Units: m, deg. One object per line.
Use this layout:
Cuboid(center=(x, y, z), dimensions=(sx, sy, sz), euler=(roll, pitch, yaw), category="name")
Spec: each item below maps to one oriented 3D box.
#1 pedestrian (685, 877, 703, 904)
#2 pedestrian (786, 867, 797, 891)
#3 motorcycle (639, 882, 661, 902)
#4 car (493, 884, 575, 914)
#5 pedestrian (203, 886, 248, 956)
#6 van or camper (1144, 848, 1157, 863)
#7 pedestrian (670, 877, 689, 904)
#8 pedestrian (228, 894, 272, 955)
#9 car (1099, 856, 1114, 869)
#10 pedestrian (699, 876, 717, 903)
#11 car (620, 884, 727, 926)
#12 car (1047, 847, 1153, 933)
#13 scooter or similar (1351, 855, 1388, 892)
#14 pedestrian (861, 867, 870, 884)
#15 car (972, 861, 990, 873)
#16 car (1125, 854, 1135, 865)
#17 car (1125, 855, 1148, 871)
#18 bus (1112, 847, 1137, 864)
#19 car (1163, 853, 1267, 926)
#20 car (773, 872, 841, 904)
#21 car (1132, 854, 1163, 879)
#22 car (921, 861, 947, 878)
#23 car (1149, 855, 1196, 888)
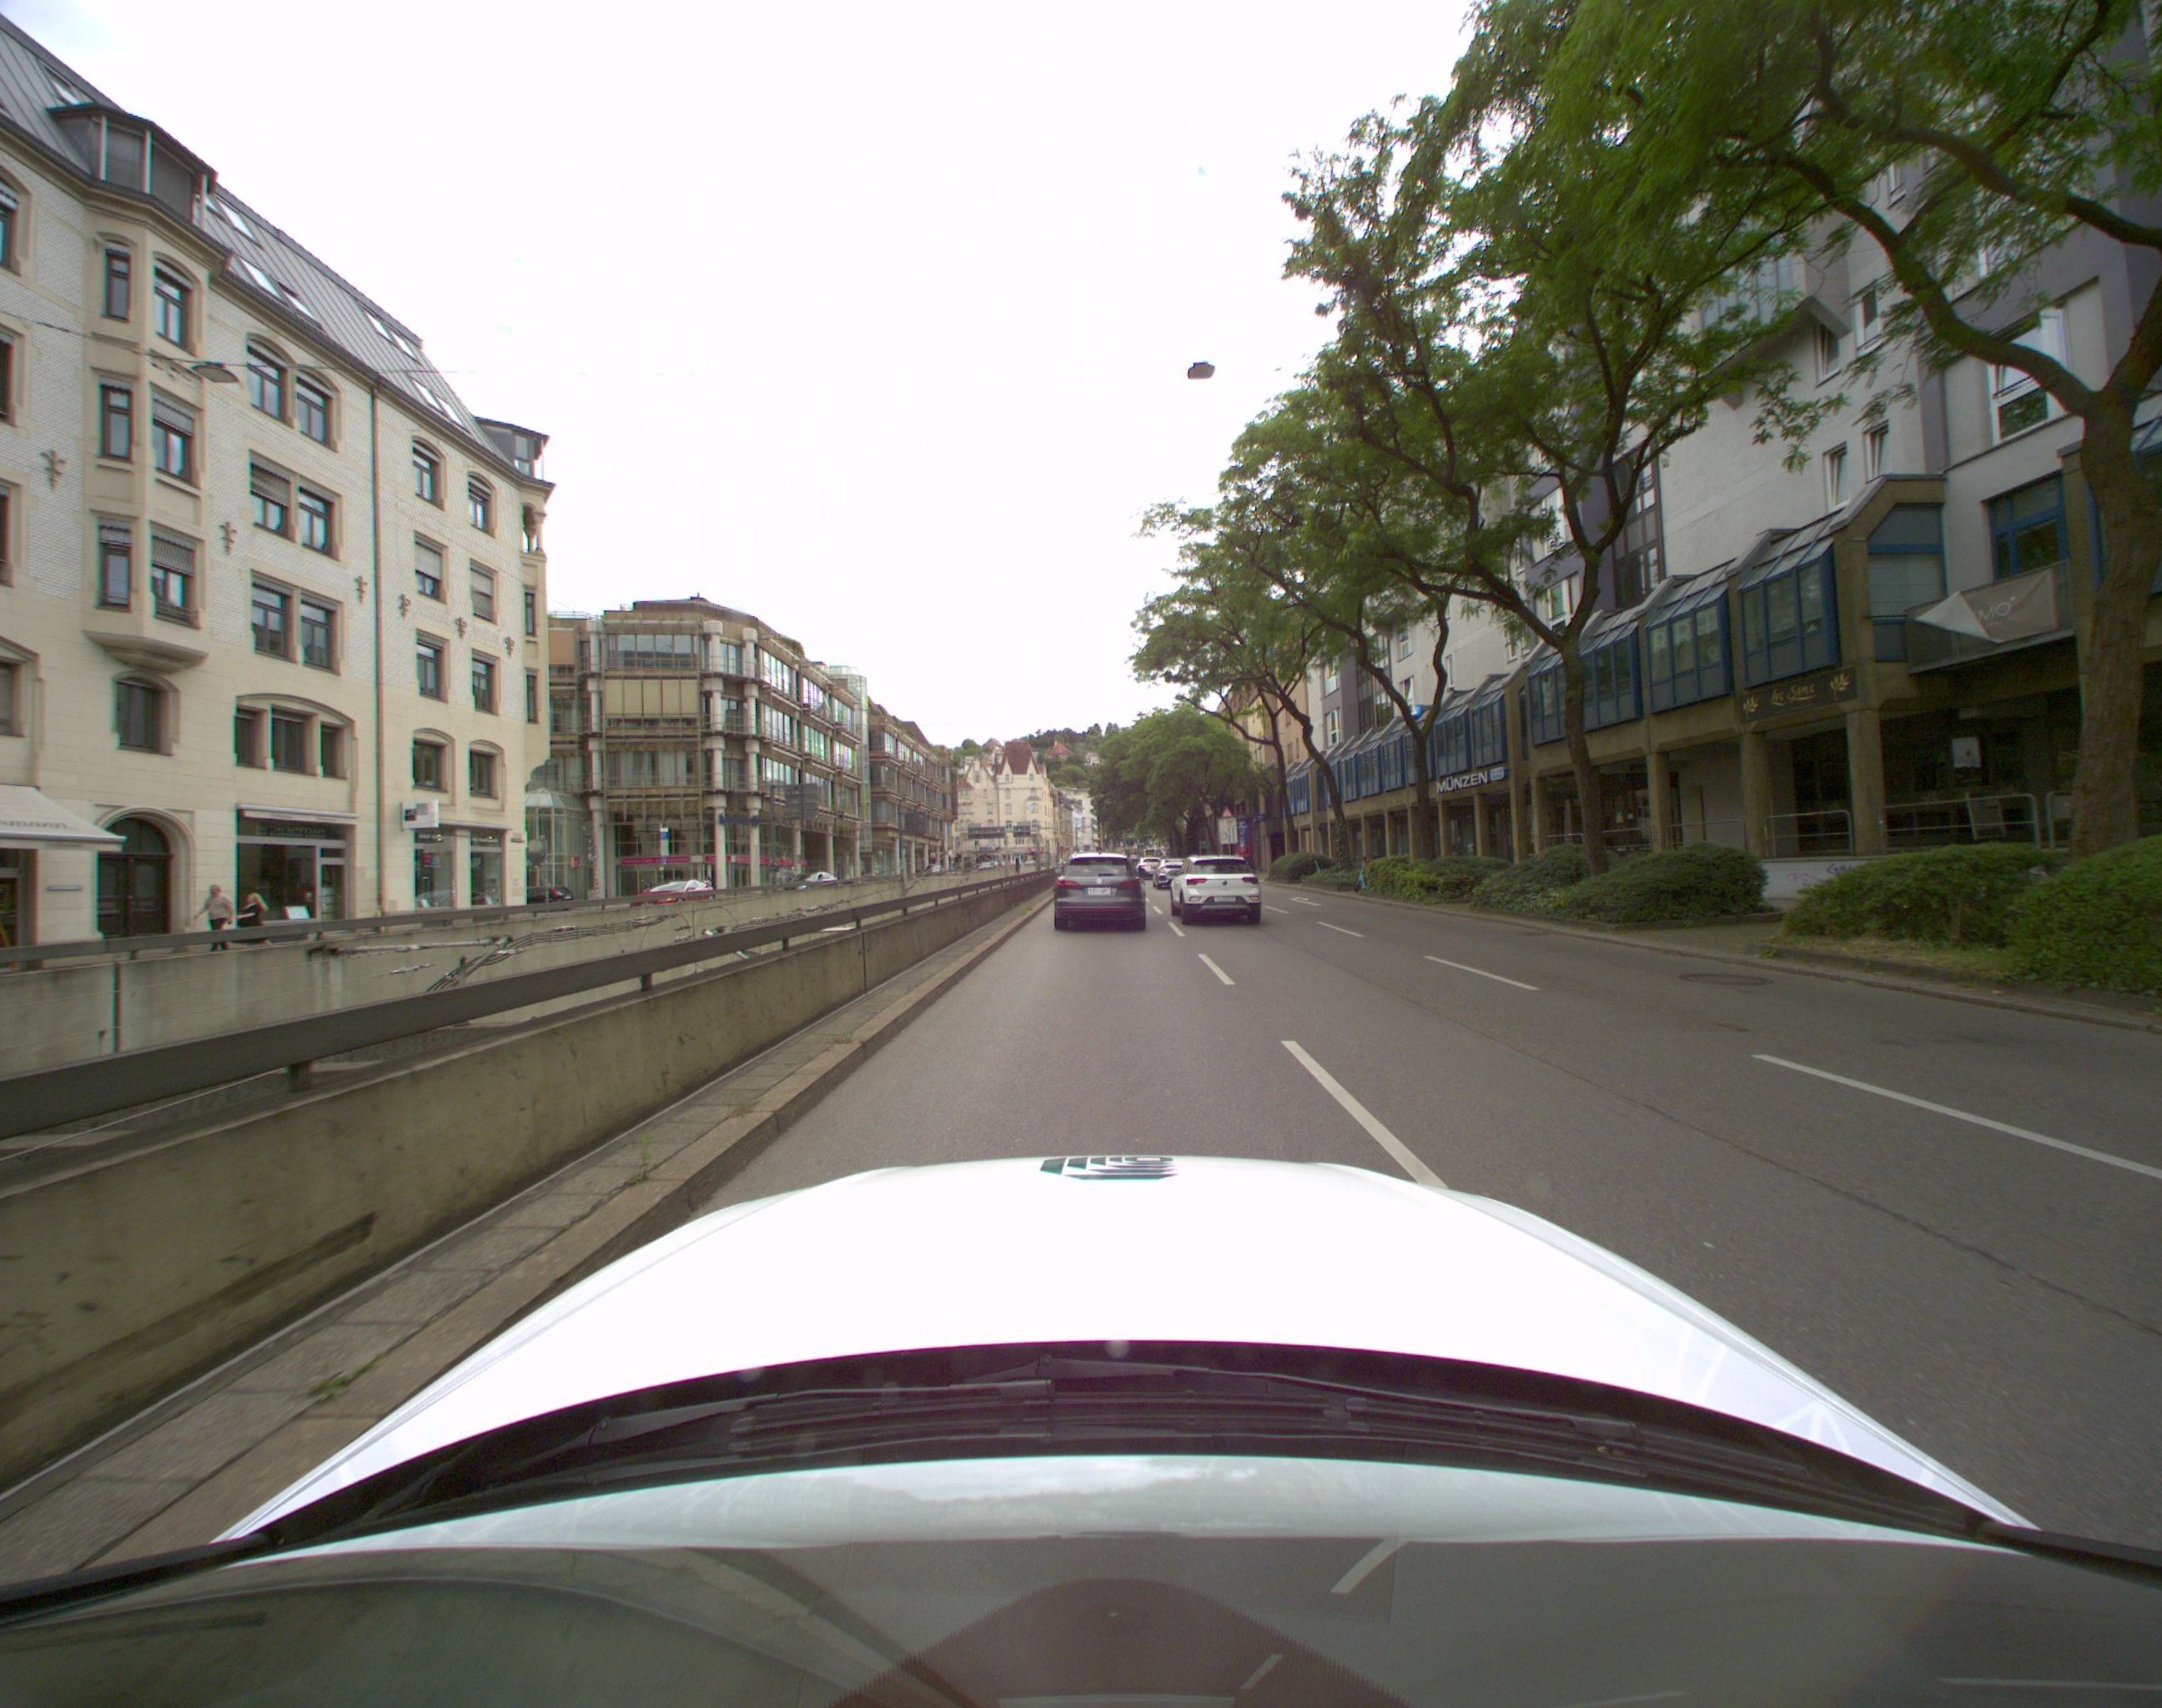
Cuboid(center=(-23.034, 2.138, 48.496), dimensions=(0.699, 1.544, 0.845), euler=(-2, -1, -6), category="pedestrian")
Cuboid(center=(-22.031, 1.907, 61.983), dimensions=(0.530, 1.793, 0.695), euler=(-2, -1, 2), category="pedestrian")
Cuboid(center=(-29.959, 2.652, 56.631), dimensions=(0.792, 1.257, 1.931), euler=(-2, 0, -11), category="motorcycle")
Cuboid(center=(-30.695, 2.525, 45.762), dimensions=(3.434, 1.436, 1.650), euler=(-3, 0, 0), category="car")
Cuboid(center=(-22.389, 1.752, 21.328), dimensions=(0.477, 1.757, 0.584), euler=(-3, 0, 2), category="pedestrian")
Cuboid(center=(15.631, 0.301, 183.877), dimensions=(2.614, 3.178, 5.814), euler=(-2, 0, 7), category="van or camper")
Cuboid(center=(-23.842, 2.181, 48.343), dimensions=(0.699, 1.544, 0.845), euler=(-2, -1, -6), category="pedestrian")
Cuboid(center=(-21.802, 1.838, 21.361), dimensions=(0.477, 1.537, 0.584), euler=(-3, 0, 2), category="pedestrian")
Cuboid(center=(3.257, 1.093, 104.217), dimensions=(1.826, 1.567, 3.767), euler=(-3, -1, 0), category="car")
Cuboid(center=(-22.223, 2.099, 48.555), dimensions=(0.699, 1.544, 0.845), euler=(-2, -1, -6), category="pedestrian")
Cuboid(center=(-17.499, 2.144, 35.278), dimensions=(1.986, 1.464, 4.888), euler=(-3, 0, 2), category="car")
Cuboid(center=(0.305, 0.725, 18.418), dimensions=(1.967, 1.695, 4.217), euler=(0, 0, -5), category="car")
Cuboid(center=(9.873, 0.675, 27.893), dimensions=(1.100, 1.181, 0.429), euler=(-4, 0, 11), category="scooter or similar")
Cuboid(center=(-22.865, 2.269, 86.284), dimensions=(0.773, 1.824, 0.711), euler=(-2, 0, -8), category="pedestrian")
Cuboid(center=(-15.455, 2.003, 126.048), dimensions=(1.986, 1.768, 4.282), euler=(-2, 0, 2), category="car")
Cuboid(center=(9.120, 1.011, 151.182), dimensions=(1.824, 1.874, 4.874), euler=(-3, -1, 3), category="car")
Cuboid(center=(5.213, 0.855, 76.638), dimensions=(1.826, 1.363, 3.766), euler=(-3, -1, 0), category="car")
Cuboid(center=(10.327, 0.275, 189.490), dimensions=(3.827, 3.532, 17.290), euler=(-3, 0, 9), category="bus")
Cuboid(center=(3.092, 0.762, 19.537), dimensions=(1.792, 1.545, 3.933), euler=(0, 0, -1), category="car")
Cuboid(center=(-16.040, 1.973, 47.924), dimensions=(1.985, 1.585, 4.892), euler=(-3, 0, 4), category="car")
Cuboid(center=(4.392, 0.836, 54.269), dimensions=(1.825, 1.517, 3.769), euler=(-3, -1, 2), category="car")
Cuboid(center=(-16.254, 1.704, 90.191), dimensions=(1.986, 1.768, 4.282), euler=(-2, 0, 2), category="car")
Cuboid(center=(4.306, 0.842, 38.836), dimensions=(1.826, 1.432, 4.148), euler=(-2, -1, 2), category="car")
